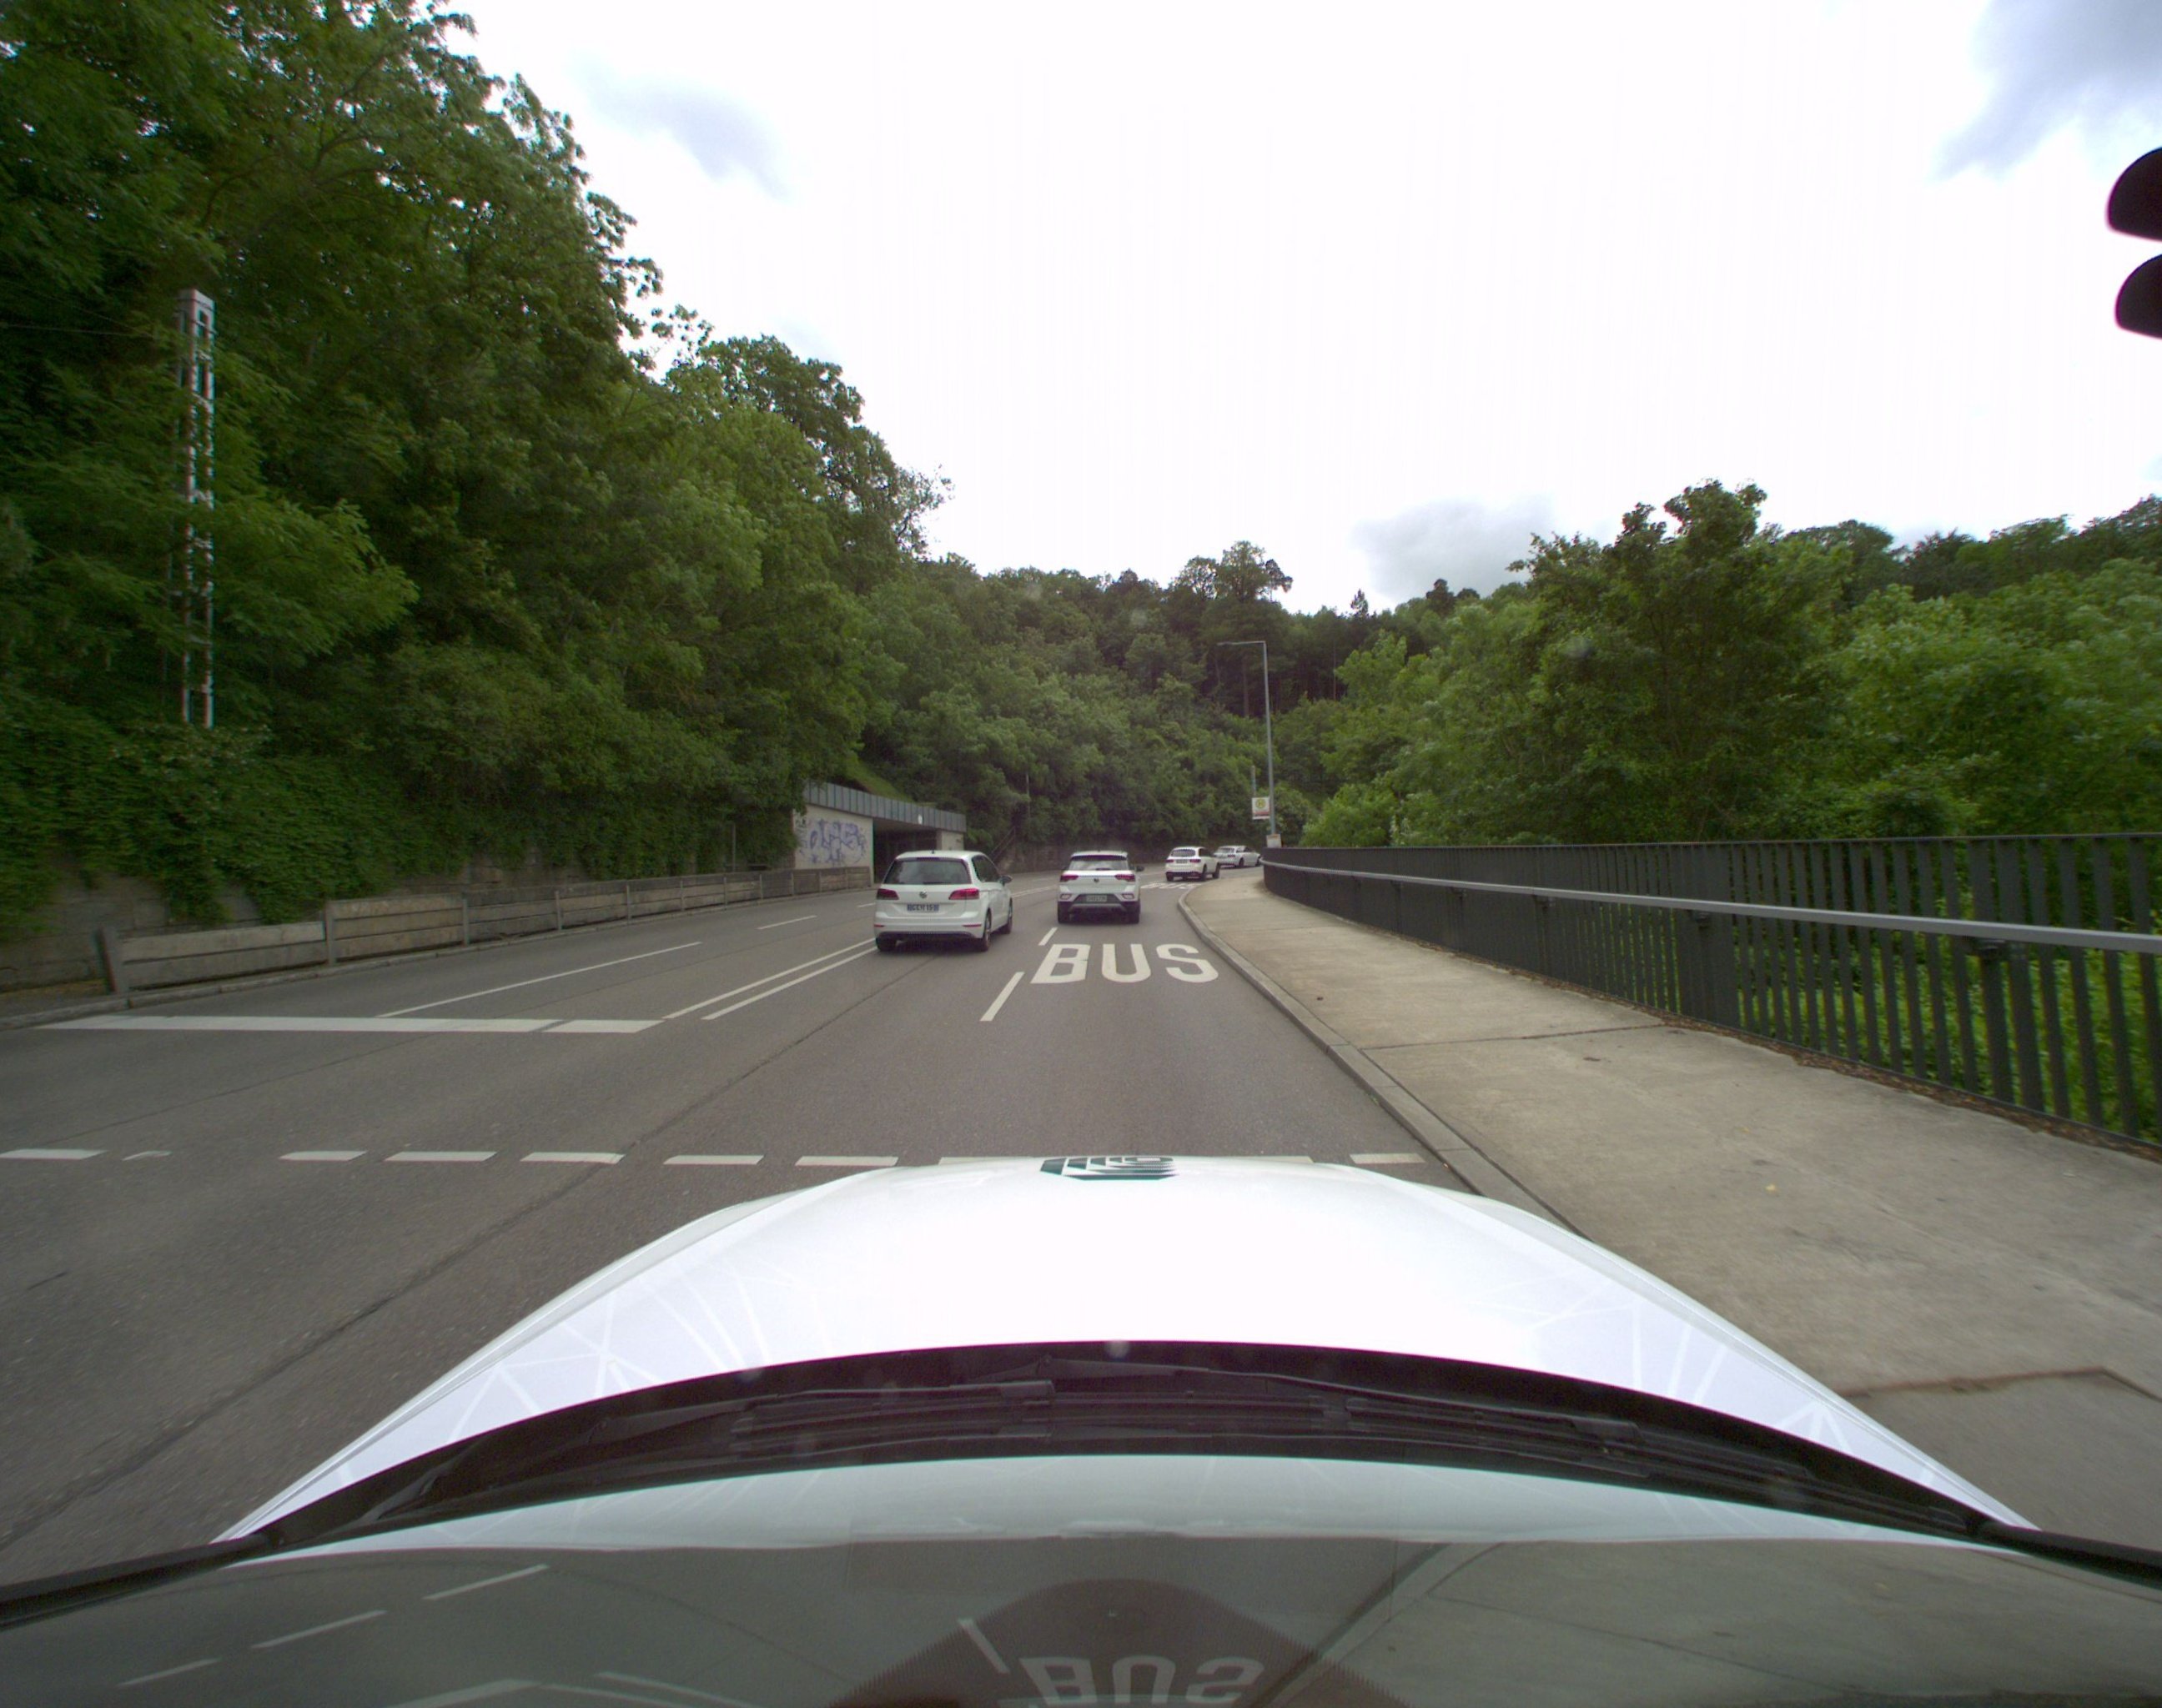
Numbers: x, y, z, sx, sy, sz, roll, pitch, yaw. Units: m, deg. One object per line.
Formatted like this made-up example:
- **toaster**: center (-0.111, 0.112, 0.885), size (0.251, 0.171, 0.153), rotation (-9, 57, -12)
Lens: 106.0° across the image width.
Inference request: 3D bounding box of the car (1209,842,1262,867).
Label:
- **car**: center (10.245, 0.042, 53.665), size (1.724, 1.519, 4.336), rotation (1, 0, 36)

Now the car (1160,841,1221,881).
- **car**: center (5.416, 0.330, 39.877), size (1.976, 1.843, 4.171), rotation (1, 0, 21)

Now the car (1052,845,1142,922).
- **car**: center (0.467, 0.633, 18.764), size (1.805, 1.539, 4.013), rotation (-2, -1, 4)

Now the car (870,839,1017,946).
- **car**: center (-2.188, 0.554, 14.061), size (1.714, 1.554, 4.276), rotation (-1, 0, 1)

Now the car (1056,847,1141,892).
- **car**: center (0.806, 0.549, 33.149), size (1.977, 1.557, 4.705), rotation (1, 2, 20)
